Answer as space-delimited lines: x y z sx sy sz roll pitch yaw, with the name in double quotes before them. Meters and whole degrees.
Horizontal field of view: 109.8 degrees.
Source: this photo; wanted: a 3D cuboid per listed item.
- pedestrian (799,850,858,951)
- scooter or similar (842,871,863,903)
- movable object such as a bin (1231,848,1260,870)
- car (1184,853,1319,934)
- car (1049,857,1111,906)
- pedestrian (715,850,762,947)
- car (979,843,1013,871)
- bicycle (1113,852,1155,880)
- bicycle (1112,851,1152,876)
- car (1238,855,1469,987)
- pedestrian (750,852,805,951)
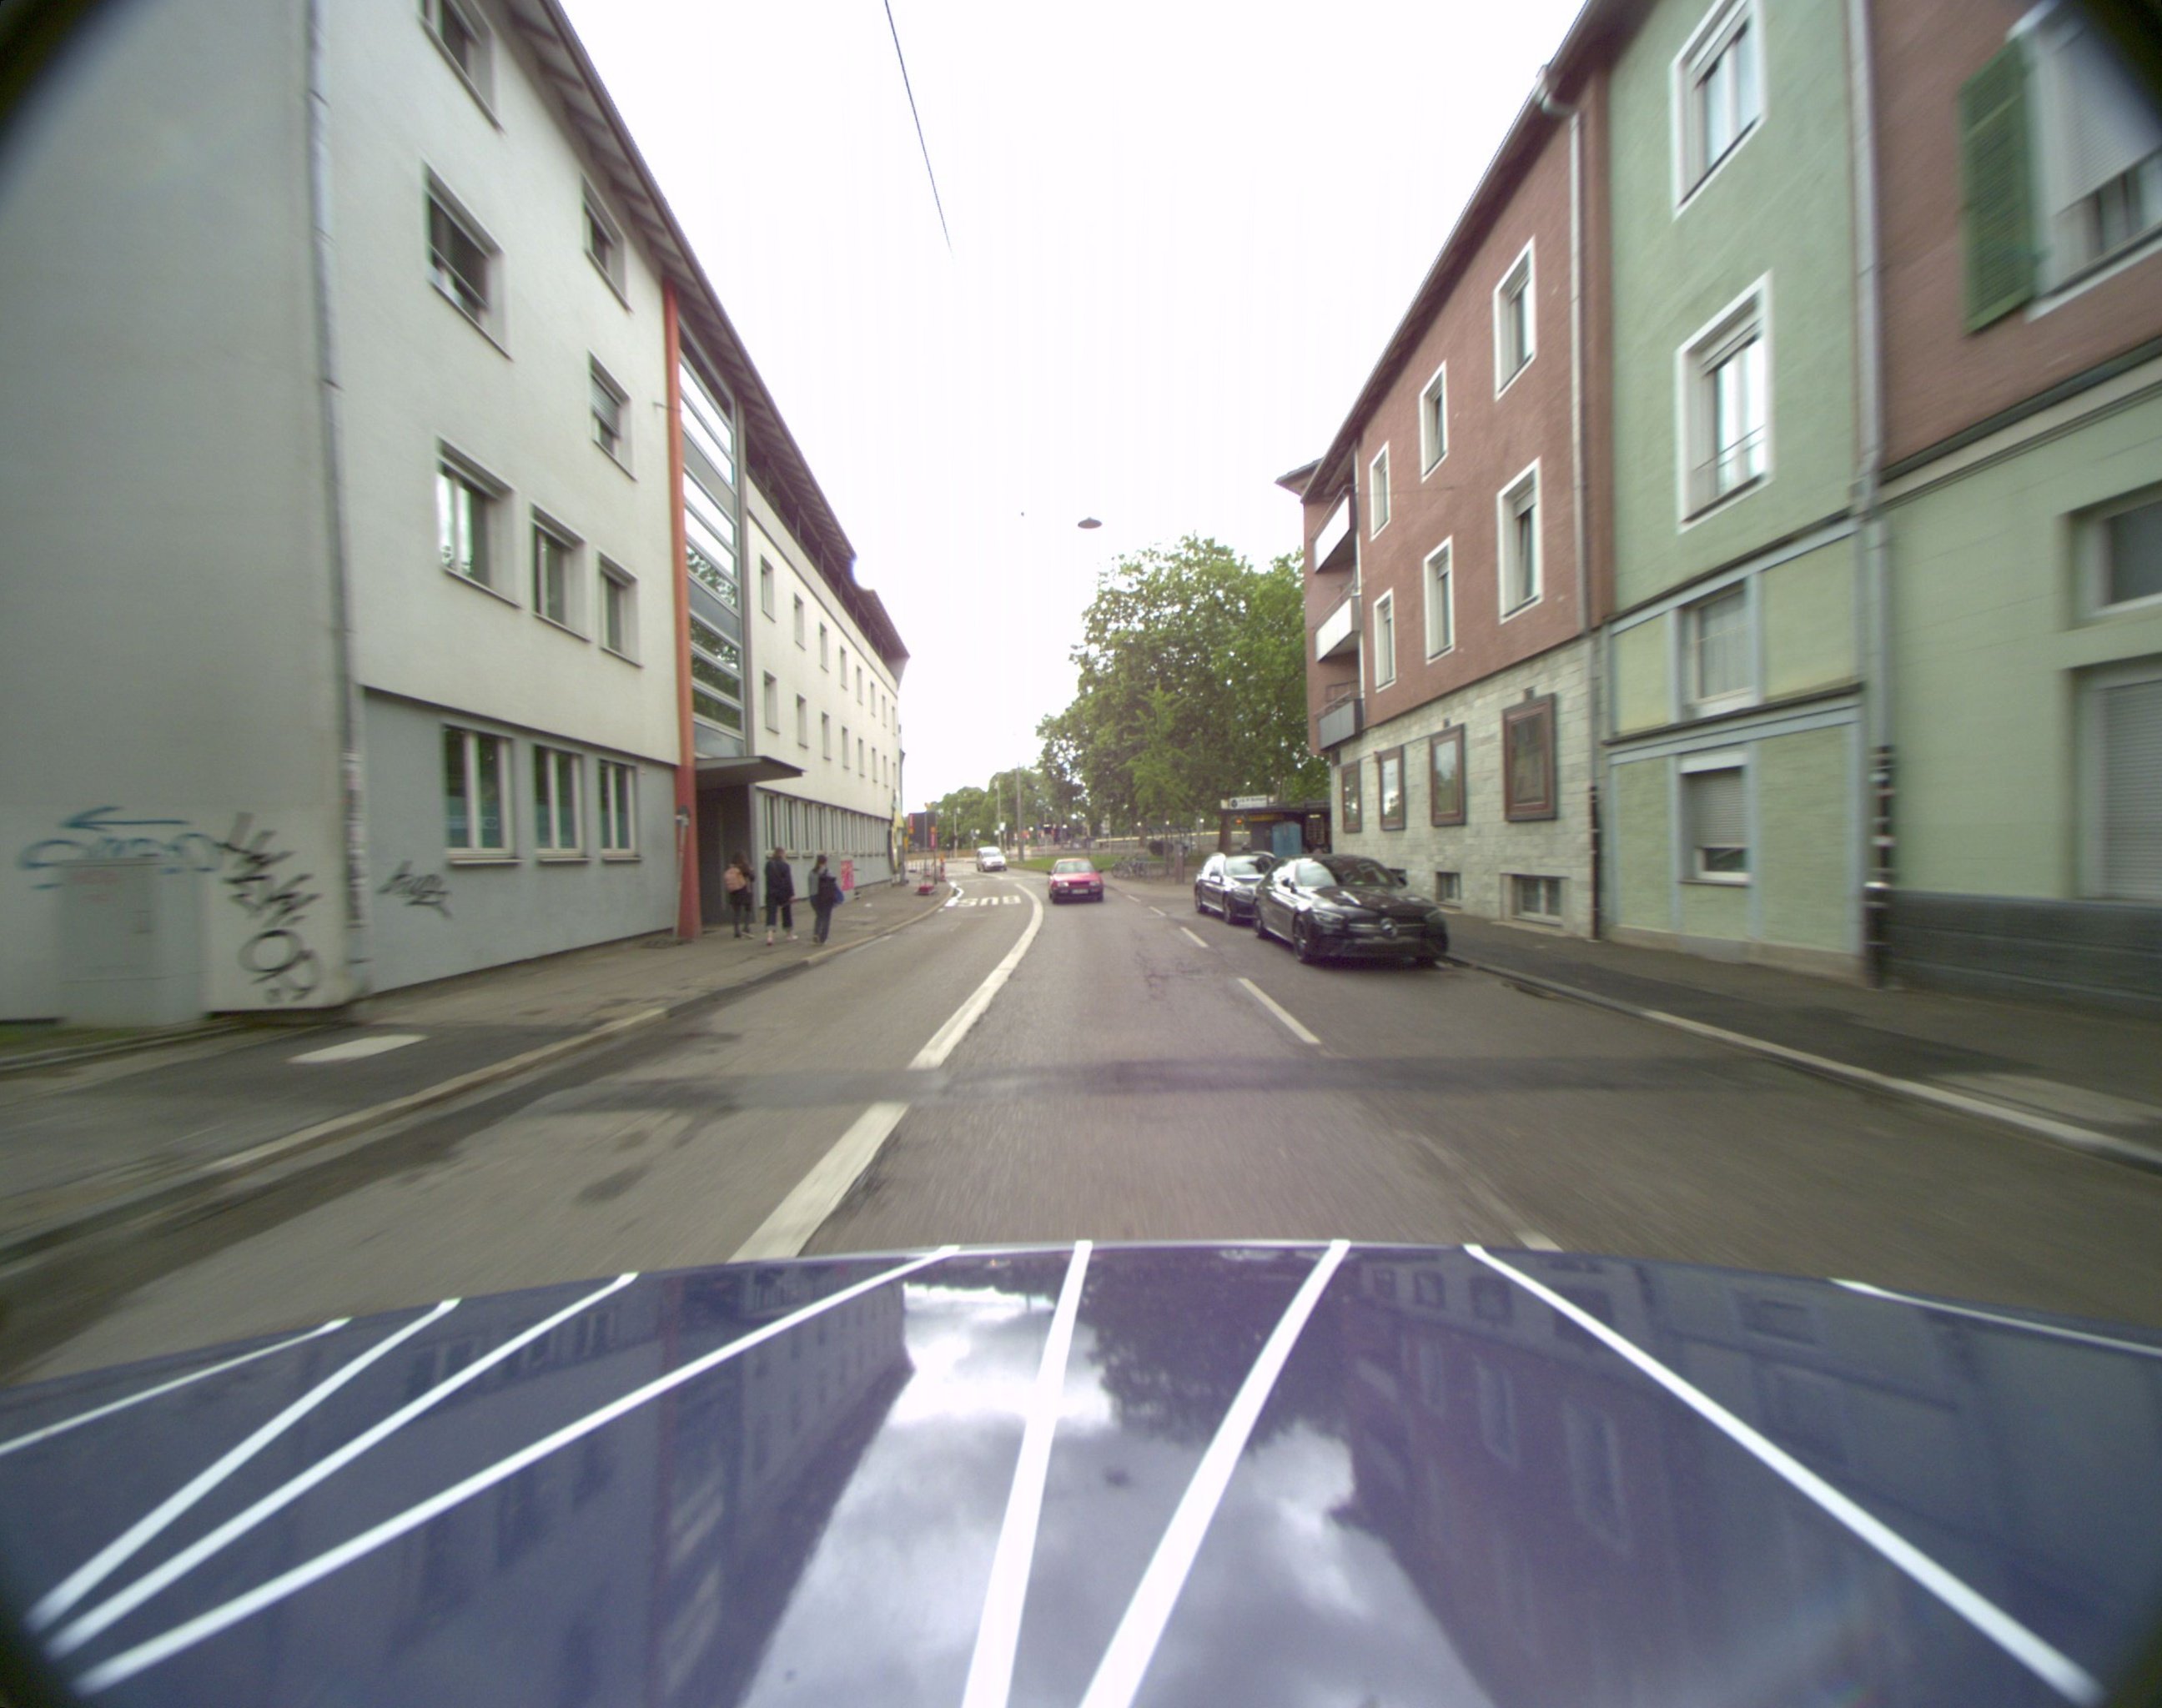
"pedestrian" -4.583 0.822 13.837 0.805 1.783 0.942 0 0 -4
"scooter or similar" -8.221 1.176 27.374 0.429 1.091 1.438 0 0 -5
"movable object such as a bin" 7.966 0.240 36.803 0.674 0.959 1.076 -8 3 -42
"car" 3.648 0.763 17.158 1.834 1.446 4.582 -2 1 -2
"car" -0.122 0.869 25.935 1.850 1.414 4.172 -3 0 -3
"pedestrian" -6.316 0.797 14.017 0.543 1.746 0.609 0 0 9
"car" -6.661 0.210 59.187 2.074 1.776 4.450 -5 4 -12
"bicycle" 2.542 0.557 36.265 1.809 1.170 0.723 -5 2 -23
"bicycle" 2.498 0.465 37.424 1.874 1.107 0.577 -4 2 -2
"car" 3.835 0.820 11.711 1.833 1.446 4.920 -2 1 1
"pedestrian" -5.483 0.839 13.774 0.689 1.746 0.878 0 0 -4
